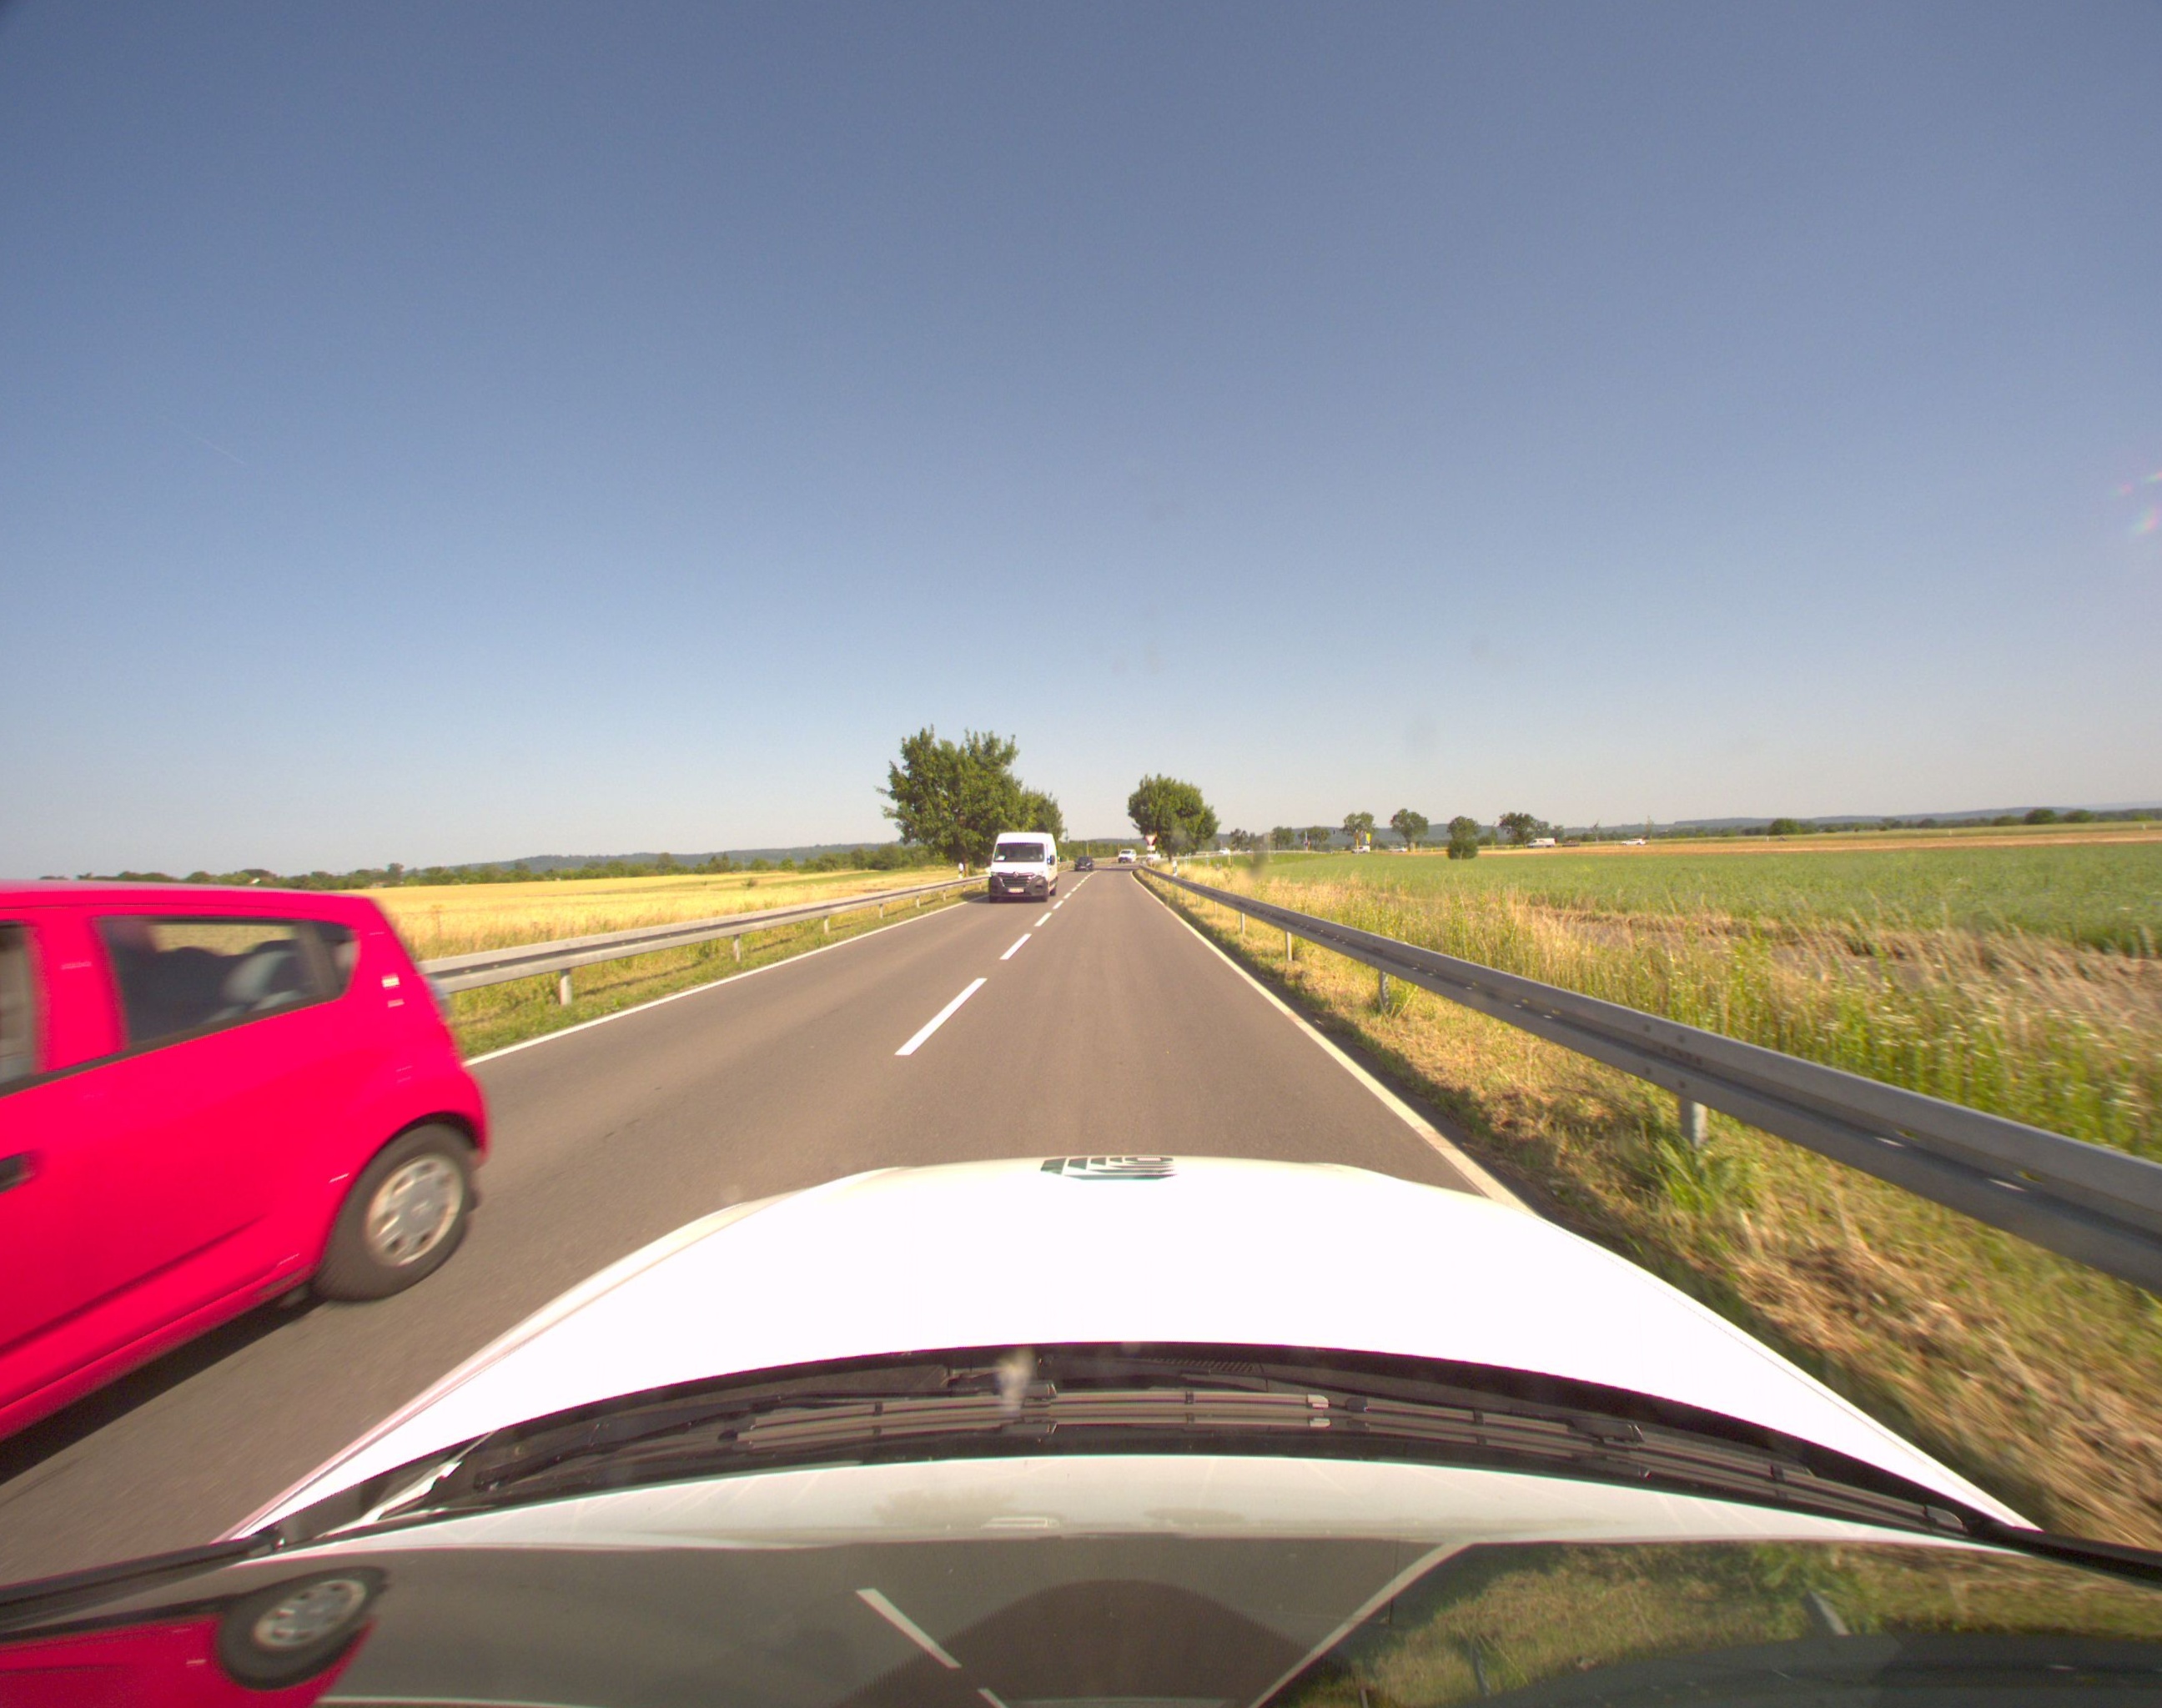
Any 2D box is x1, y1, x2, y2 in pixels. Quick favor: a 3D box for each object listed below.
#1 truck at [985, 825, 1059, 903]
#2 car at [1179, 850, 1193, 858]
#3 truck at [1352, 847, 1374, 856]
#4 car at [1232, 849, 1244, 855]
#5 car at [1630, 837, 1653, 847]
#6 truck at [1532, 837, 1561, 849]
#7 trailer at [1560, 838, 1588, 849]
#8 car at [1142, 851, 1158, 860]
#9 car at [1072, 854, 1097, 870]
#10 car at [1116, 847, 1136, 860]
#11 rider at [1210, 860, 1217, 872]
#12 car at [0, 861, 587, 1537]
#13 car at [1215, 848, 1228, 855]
[{"bbox_3d":[-2.030,0.334,30.087,1.986,2.520,6.246,-1,0,2],"label":"truck"},{"bbox_3d":[20.511,-0.032,159.361,1.978,1.532,4.612,0,0,18],"label":"car"},{"bbox_3d":[75.441,-0.673,217.808,5.001,2.529,2.013,-1,-1,37],"label":"truck"},{"bbox_3d":[38.968,-0.471,202.362,1.976,1.532,4.616,0,0,22],"label":"car"},{"bbox_3d":[123.369,-2.679,179.369,3.948,2.014,2.013,-3,-1,39],"label":"car"},{"bbox_3d":[109.277,-2.622,191.098,5.526,2.695,3.315,-1,-1,34],"label":"truck"},{"bbox_3d":[113.826,-2.499,187.992,5.390,2.354,3.376,-1,-1,34],"label":"trailer"},{"bbox_3d":[11.548,0.274,136.359,1.888,1.532,4.610,0,0,15],"label":"car"},{"bbox_3d":[0.370,0.743,76.913,1.633,1.471,3.819,-1,0,11],"label":"car"},{"bbox_3d":[6.577,-0.064,117.599,1.979,1.884,4.610,0,0,15],"label":"car"},{"bbox_3d":[17.547,1.620,107.633,0.604,1.527,1.835,-1,-1,21],"label":"rider"},{"bbox_3d":[-3.218,0.795,1.976,1.600,1.488,3.782,-1,0,2],"label":"car"},{"bbox_3d":[31.349,-0.507,181.122,1.976,1.532,4.616,0,0,22],"label":"car"}]
